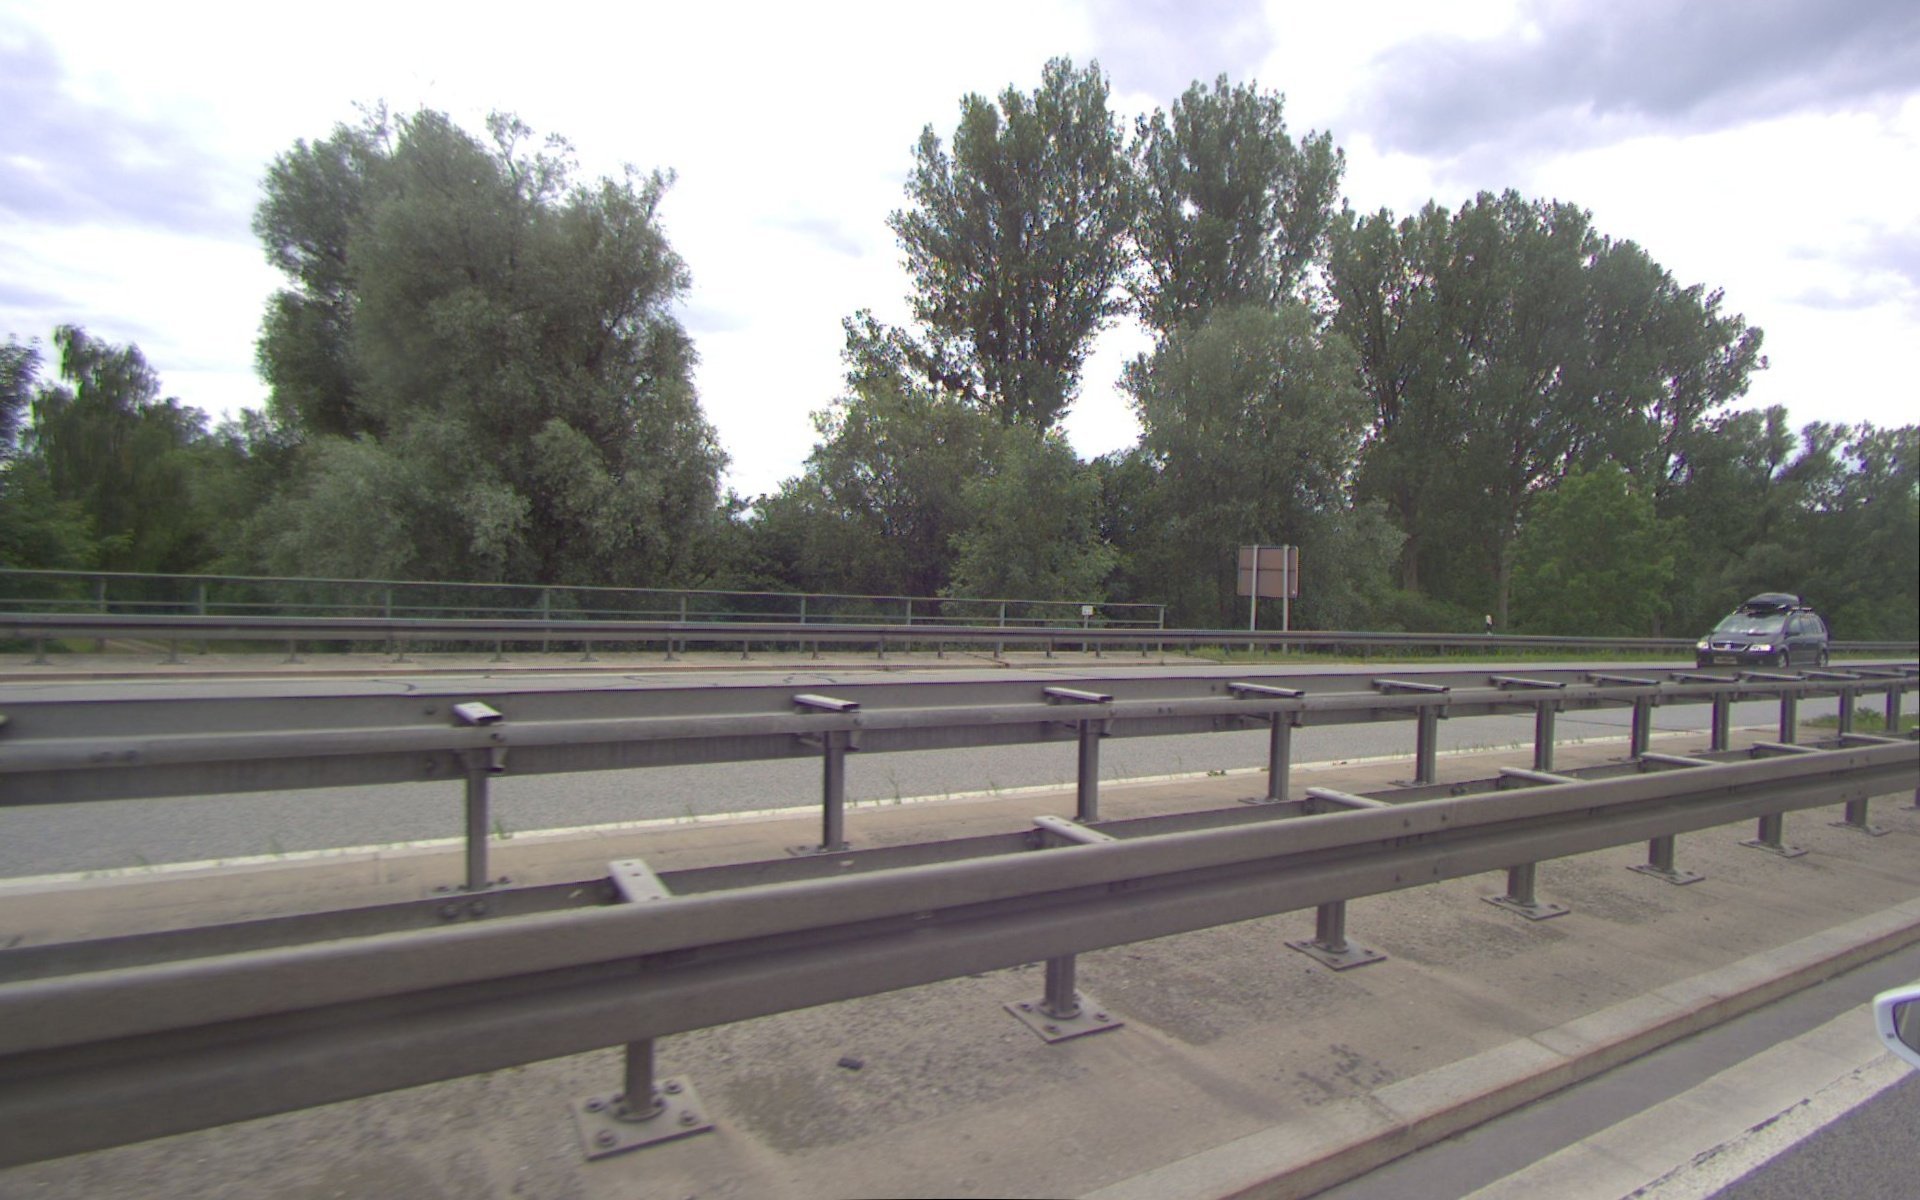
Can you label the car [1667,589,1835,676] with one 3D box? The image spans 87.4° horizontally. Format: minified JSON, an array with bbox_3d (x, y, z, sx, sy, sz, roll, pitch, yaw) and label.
[{"bbox_3d":[20.630,0.841,26.160,4.693,2.029,1.982,2,1,-33],"label":"car"}]
